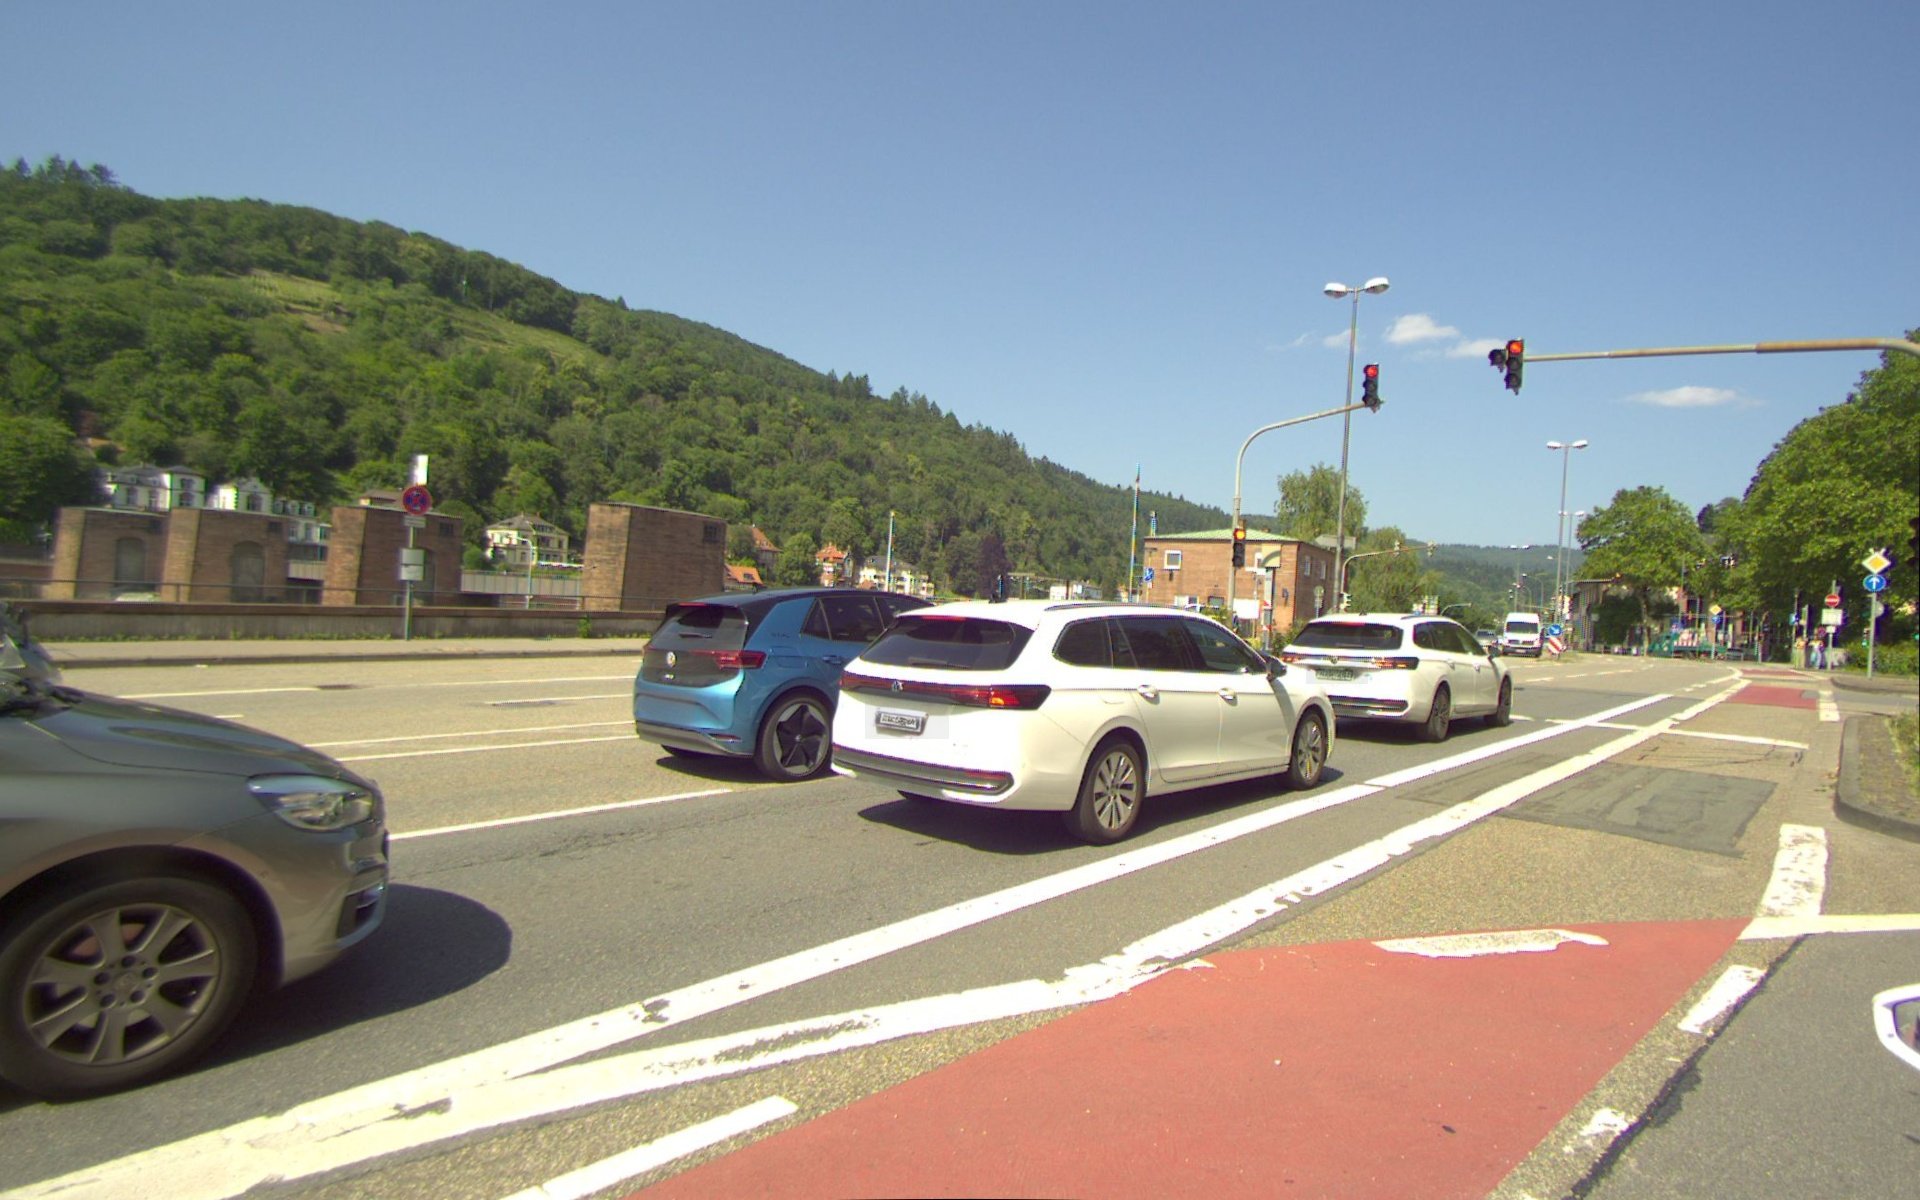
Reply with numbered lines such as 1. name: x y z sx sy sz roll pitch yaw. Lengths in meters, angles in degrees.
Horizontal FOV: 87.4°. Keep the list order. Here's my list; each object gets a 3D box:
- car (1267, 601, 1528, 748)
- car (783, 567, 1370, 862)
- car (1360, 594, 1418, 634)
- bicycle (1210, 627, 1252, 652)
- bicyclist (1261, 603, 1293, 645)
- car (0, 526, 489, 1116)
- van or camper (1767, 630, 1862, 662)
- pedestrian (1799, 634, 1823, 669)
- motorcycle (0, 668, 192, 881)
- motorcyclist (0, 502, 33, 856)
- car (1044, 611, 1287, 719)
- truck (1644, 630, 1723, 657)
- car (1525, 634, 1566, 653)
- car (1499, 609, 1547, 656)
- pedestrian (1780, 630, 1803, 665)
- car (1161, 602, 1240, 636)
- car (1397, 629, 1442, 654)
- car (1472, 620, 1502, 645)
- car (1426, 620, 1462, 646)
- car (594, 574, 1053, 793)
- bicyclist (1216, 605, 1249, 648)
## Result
1. car: 5.883 0.872 13.148 1.765 1.552 4.712 1 -1 41
2. car: 1.205 0.630 7.733 1.972 1.554 4.829 1 0 44
3. car: 24.129 0.799 56.432 2.183 2.106 5.031 1 0 32
4. bicycle: 13.143 1.893 48.672 1.196 1.105 2.590 1 0 34
5. bicyclist: 15.699 1.193 49.740 1.196 2.040 1.115 1 0 35
6. car: -3.806 0.526 2.613 1.869 1.541 4.279 2 0 45
7. van or camper: 58.008 3.089 68.256 1.975 1.927 4.523 2 0 -28
8. pedestrian: 43.548 2.626 51.383 0.870 1.731 0.755 2 0 -39
9. motorcycle: -5.338 0.858 4.759 1.027 0.932 2.588 2 0 45
10. motorcyclist: -5.314 0.363 4.870 1.064 1.707 1.149 2 0 45
11. car: 3.258 0.908 15.437 1.846 1.377 3.977 2 0 43
12. truck: 62.775 3.762 87.274 2.122 2.040 6.270 2 0 -2
13. car: 66.233 4.909 113.685 1.908 2.040 3.992 1 0 -11
14. car: 33.769 1.932 60.354 2.347 2.611 6.046 1 0 28
15. pedestrian: 43.057 2.455 52.013 0.788 1.741 0.755 1 0 -39
16. car: 15.341 1.207 64.267 4.526 2.040 2.001 2 0 3
17. car: 30.742 2.732 67.105 2.175 1.477 4.739 2 0 31
18. car: 41.580 2.524 79.288 1.963 1.857 3.995 2 0 26
19. car: 36.508 2.482 75.704 2.173 1.804 4.742 1 0 29
20. car: -1.090 0.628 9.389 1.846 1.583 3.977 2 0 43
21. bicyclist: 13.231 1.278 48.774 1.196 2.040 1.115 1 0 35
